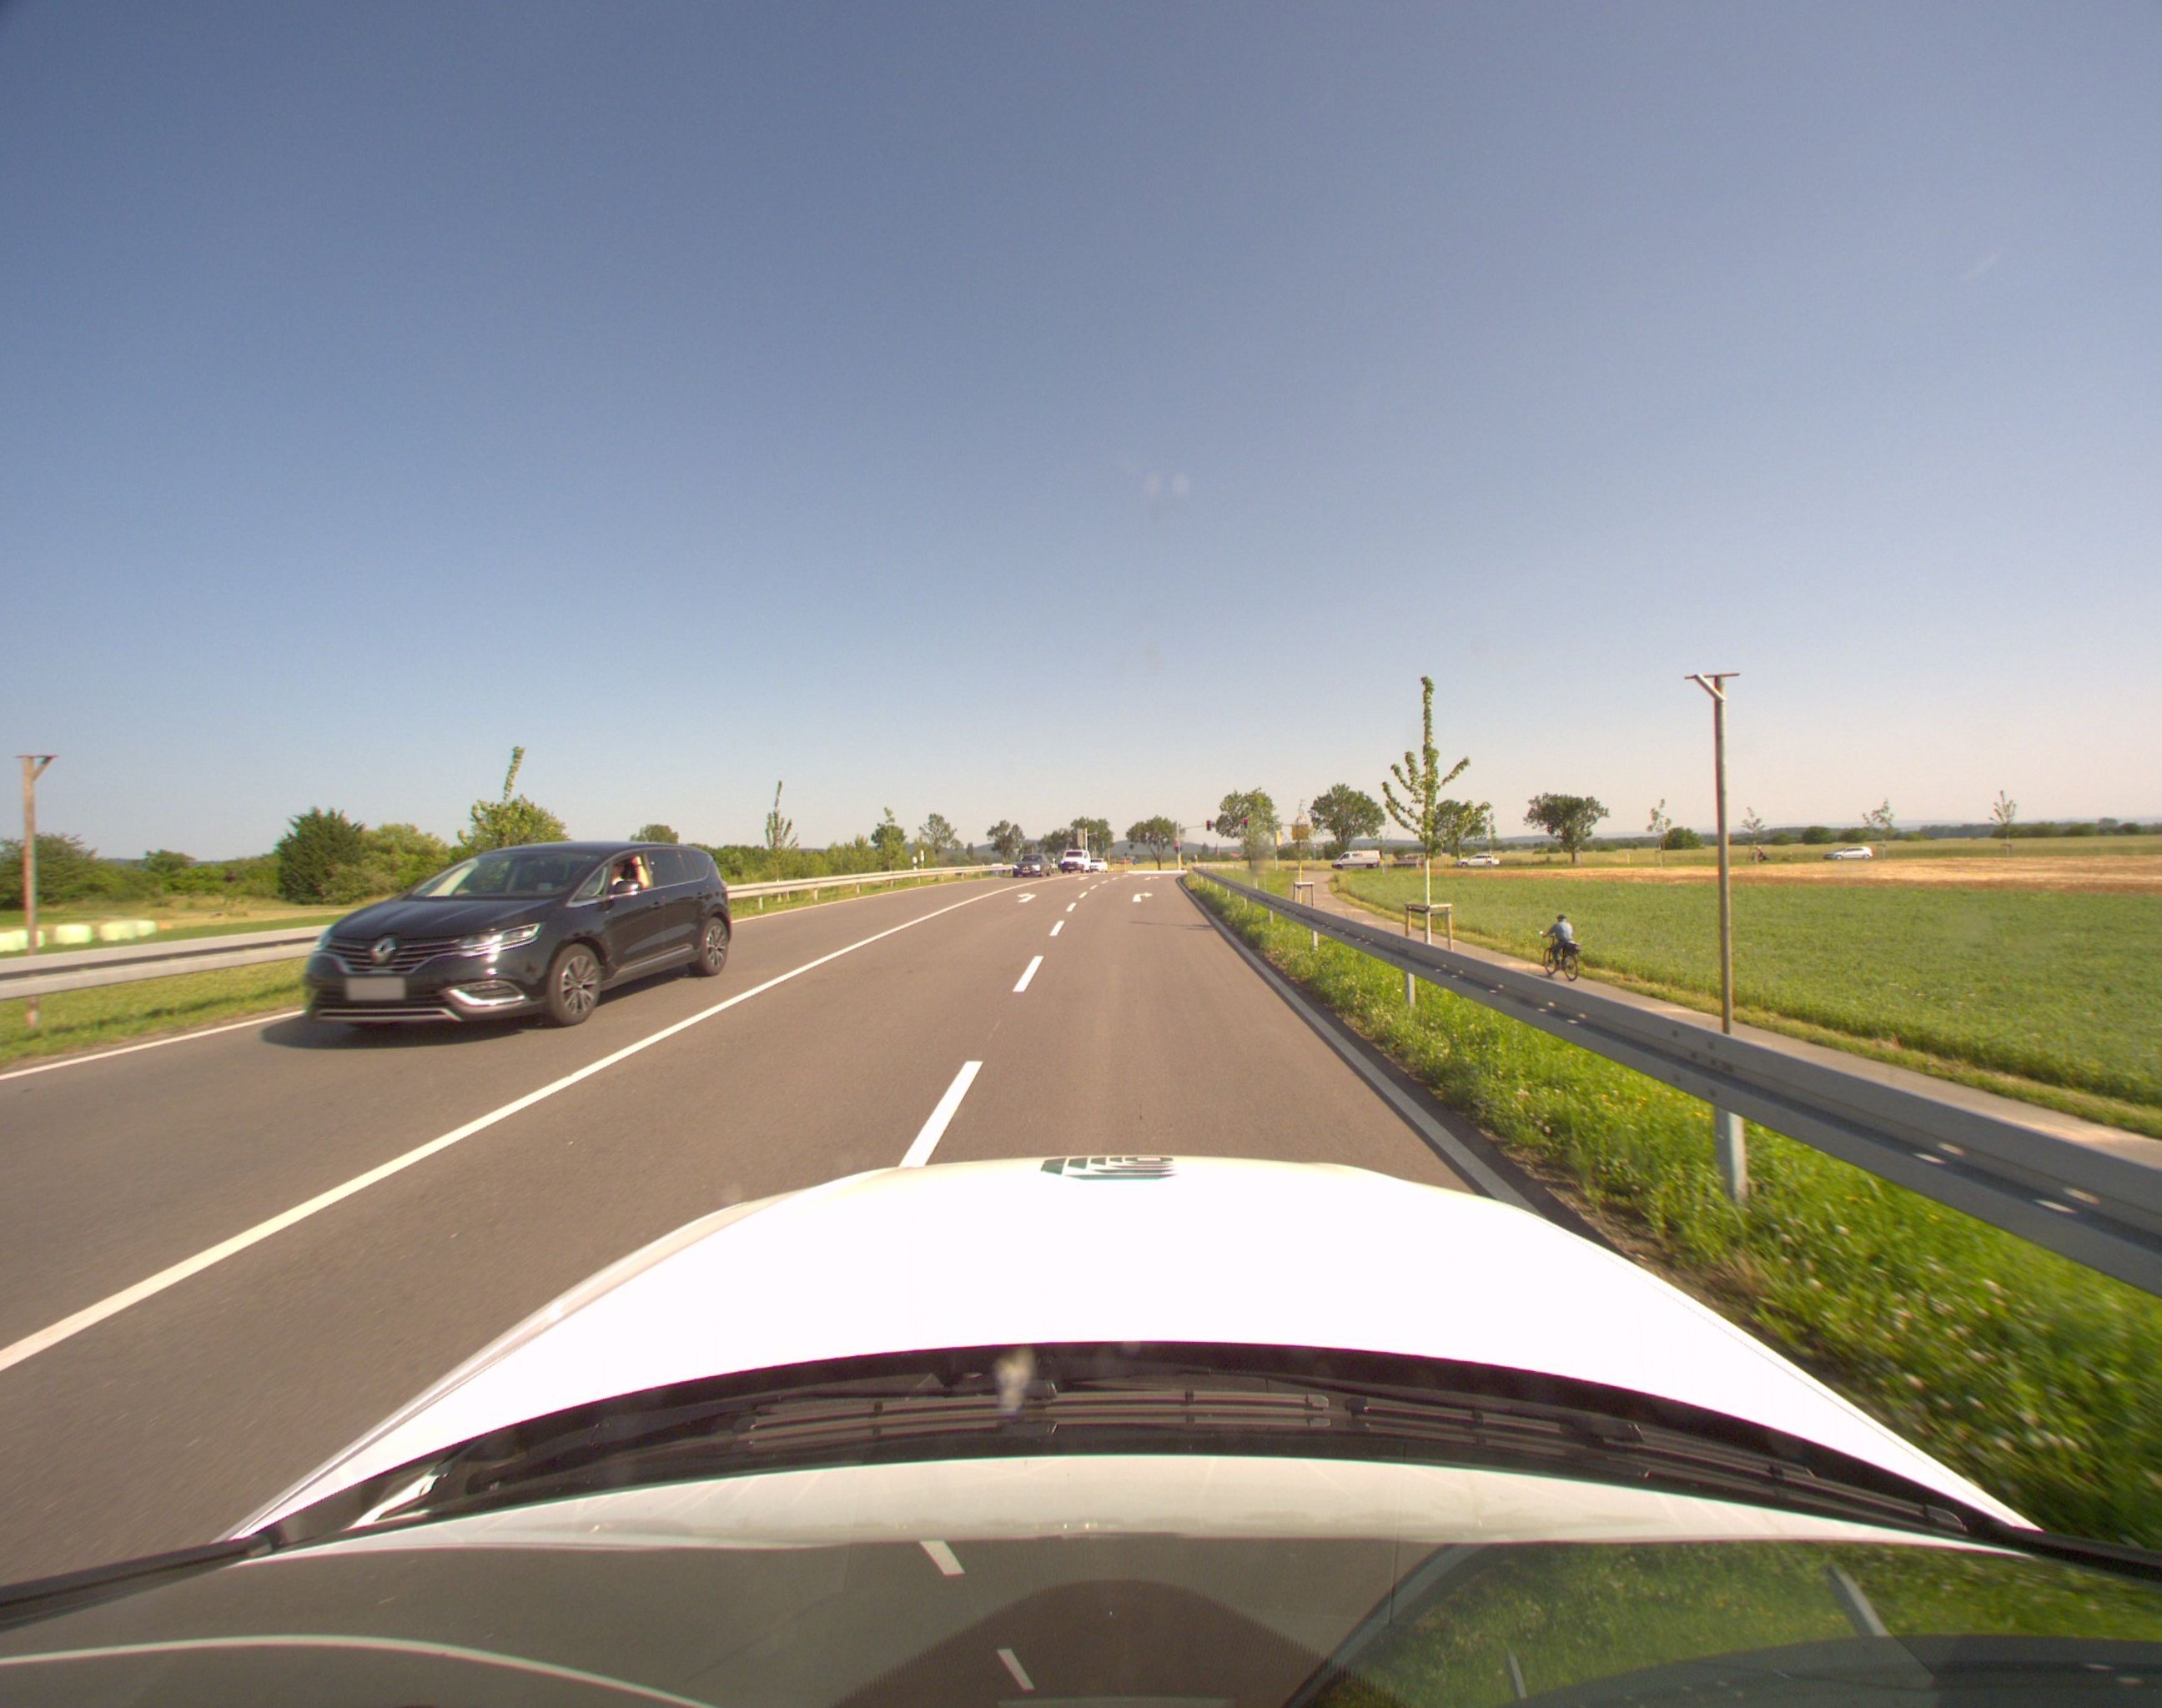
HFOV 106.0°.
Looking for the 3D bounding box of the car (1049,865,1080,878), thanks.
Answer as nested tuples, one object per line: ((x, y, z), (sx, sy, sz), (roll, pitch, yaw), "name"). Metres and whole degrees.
((-2.328, 2.417, 113.202), (3.922, 1.668, 1.772), (0, -2, 19), "car")

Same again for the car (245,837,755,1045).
((-5.451, 0.683, 8.726), (1.987, 1.593, 4.861), (0, 0, -1), "car")

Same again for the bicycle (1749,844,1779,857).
((68.340, -0.333, 81.528), (2.138, 1.186, 0.894), (-1, -2, 18), "bicycle")

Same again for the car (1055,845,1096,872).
((-0.424, 0.332, 68.973), (2.099, 2.013, 5.176), (1, 2, 15), "car")

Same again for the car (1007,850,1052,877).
((-3.213, 0.570, 51.426), (1.784, 1.448, 4.719), (1, 2, 9), "car")

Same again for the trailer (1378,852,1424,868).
((39.236, 0.750, 99.964), (5.216, 1.753, 1.963), (-2, -2, 21), "trailer")

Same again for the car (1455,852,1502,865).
((47.479, 0.598, 97.311), (4.829, 1.510, 2.009), (0, -1, 18), "car")

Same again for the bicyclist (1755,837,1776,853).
((68.435, -0.906, 81.456), (1.268, 1.601, 1.171), (-1, 0, 18), "bicyclist")

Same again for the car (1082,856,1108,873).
((1.474, 1.013, 84.069), (2.103, 1.493, 5.165), (0, 2, 7), "car")

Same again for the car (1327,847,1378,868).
((33.966, 0.465, 101.957), (5.906, 2.493, 2.010), (0, -2, 21), "car")
